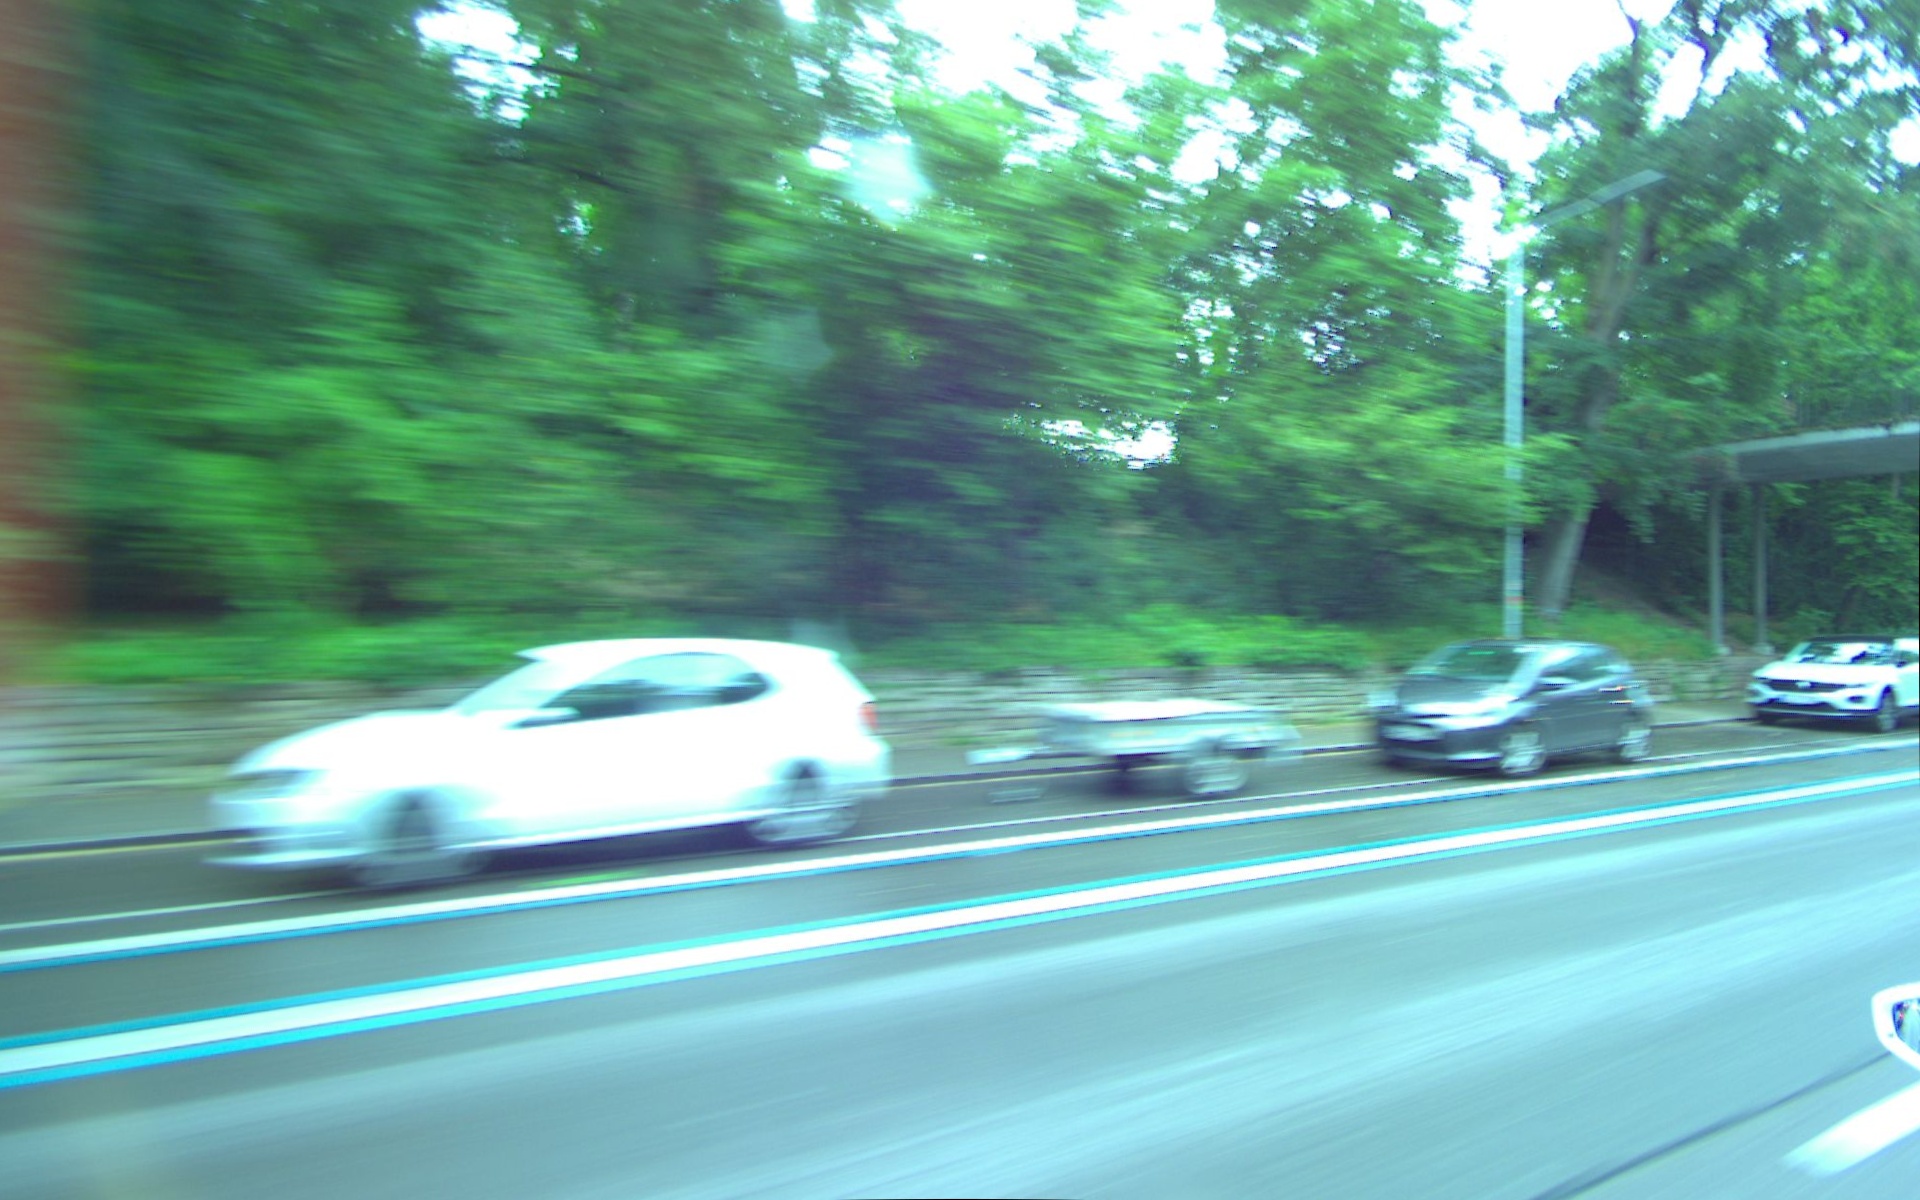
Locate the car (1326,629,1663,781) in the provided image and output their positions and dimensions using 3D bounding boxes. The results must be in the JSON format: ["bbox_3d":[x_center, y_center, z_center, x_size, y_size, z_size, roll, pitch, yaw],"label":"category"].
[{"bbox_3d":[6.460,1.123,12.067,3.994,1.496,1.822,1,-1,-31],"label":"car"}]

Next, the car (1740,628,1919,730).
[{"bbox_3d":[15.593,1.290,17.504,4.181,1.567,1.680,1,-1,-29],"label":"car"}]

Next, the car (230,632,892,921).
[{"bbox_3d":[-2.633,0.995,7.140,3.936,1.502,1.781,1,-1,-30],"label":"car"}]

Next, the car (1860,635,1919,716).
[{"bbox_3d":[19.479,1.438,19.655,3.795,1.458,1.603,1,-1,-28],"label":"car"}]

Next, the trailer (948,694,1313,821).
[{"bbox_3d":[1.672,1.429,9.703,3.266,0.830,1.535,1,-1,-30],"label":"trailer"}]
